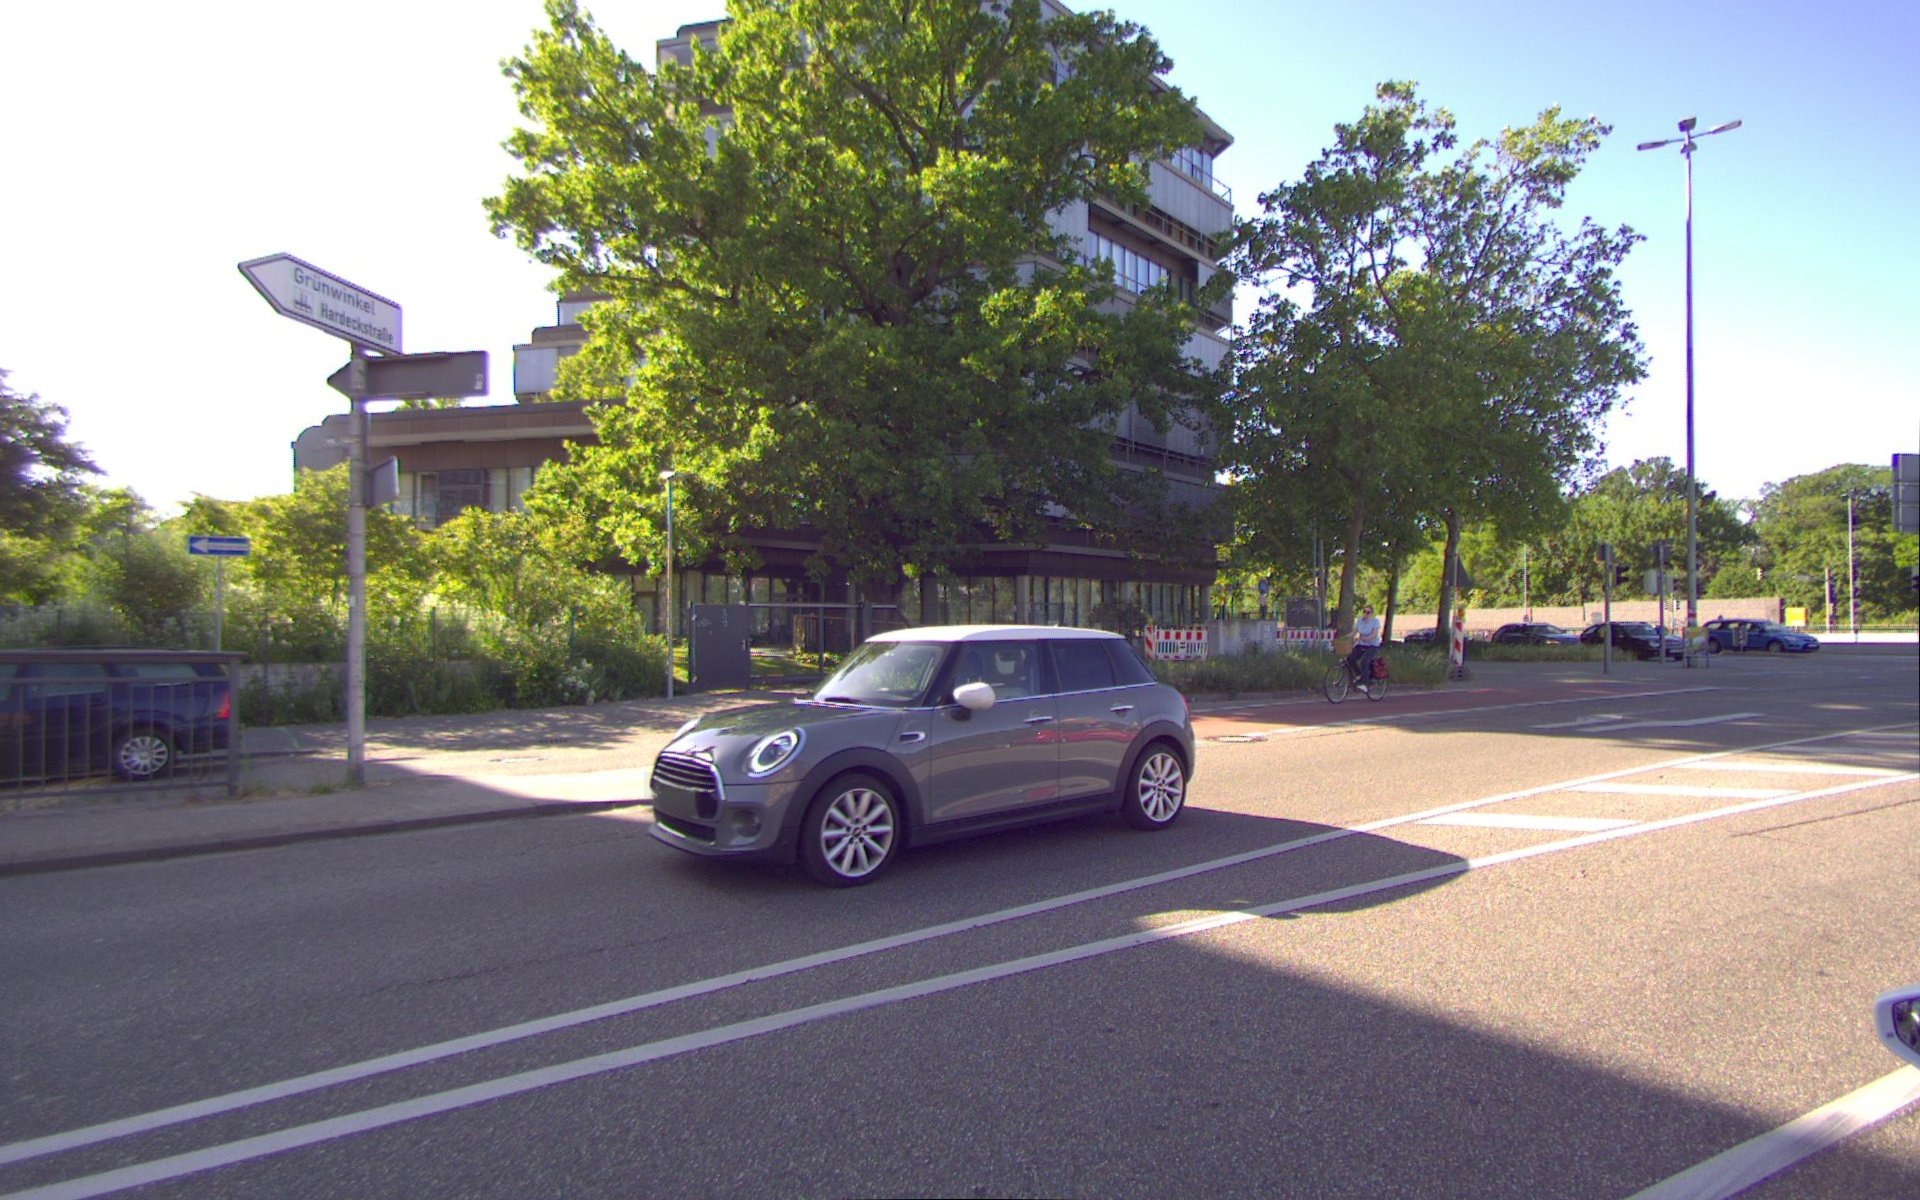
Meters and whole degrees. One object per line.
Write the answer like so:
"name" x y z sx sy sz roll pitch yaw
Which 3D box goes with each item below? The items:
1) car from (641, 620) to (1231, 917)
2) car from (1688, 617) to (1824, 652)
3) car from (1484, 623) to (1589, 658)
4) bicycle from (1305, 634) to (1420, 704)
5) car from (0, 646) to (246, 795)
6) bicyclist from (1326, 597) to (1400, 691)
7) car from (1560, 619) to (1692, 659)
"car" -0.005 0.886 6.941 3.879 1.476 1.673 0 -1 -38
"car" 34.273 1.475 43.414 1.796 1.457 4.437 0 -2 -15
"car" 25.891 1.805 45.301 1.792 1.457 4.446 0 -2 -7
"bicycle" 7.589 1.269 18.924 2.297 1.218 0.684 0 -1 -28
"car" -10.743 1.321 11.256 4.411 1.523 1.806 1 -2 -38
"bicyclist" 7.593 0.813 18.937 1.182 1.723 0.684 0 -1 -27
"car" 25.600 1.478 38.819 1.792 1.457 4.446 0 -2 -7
